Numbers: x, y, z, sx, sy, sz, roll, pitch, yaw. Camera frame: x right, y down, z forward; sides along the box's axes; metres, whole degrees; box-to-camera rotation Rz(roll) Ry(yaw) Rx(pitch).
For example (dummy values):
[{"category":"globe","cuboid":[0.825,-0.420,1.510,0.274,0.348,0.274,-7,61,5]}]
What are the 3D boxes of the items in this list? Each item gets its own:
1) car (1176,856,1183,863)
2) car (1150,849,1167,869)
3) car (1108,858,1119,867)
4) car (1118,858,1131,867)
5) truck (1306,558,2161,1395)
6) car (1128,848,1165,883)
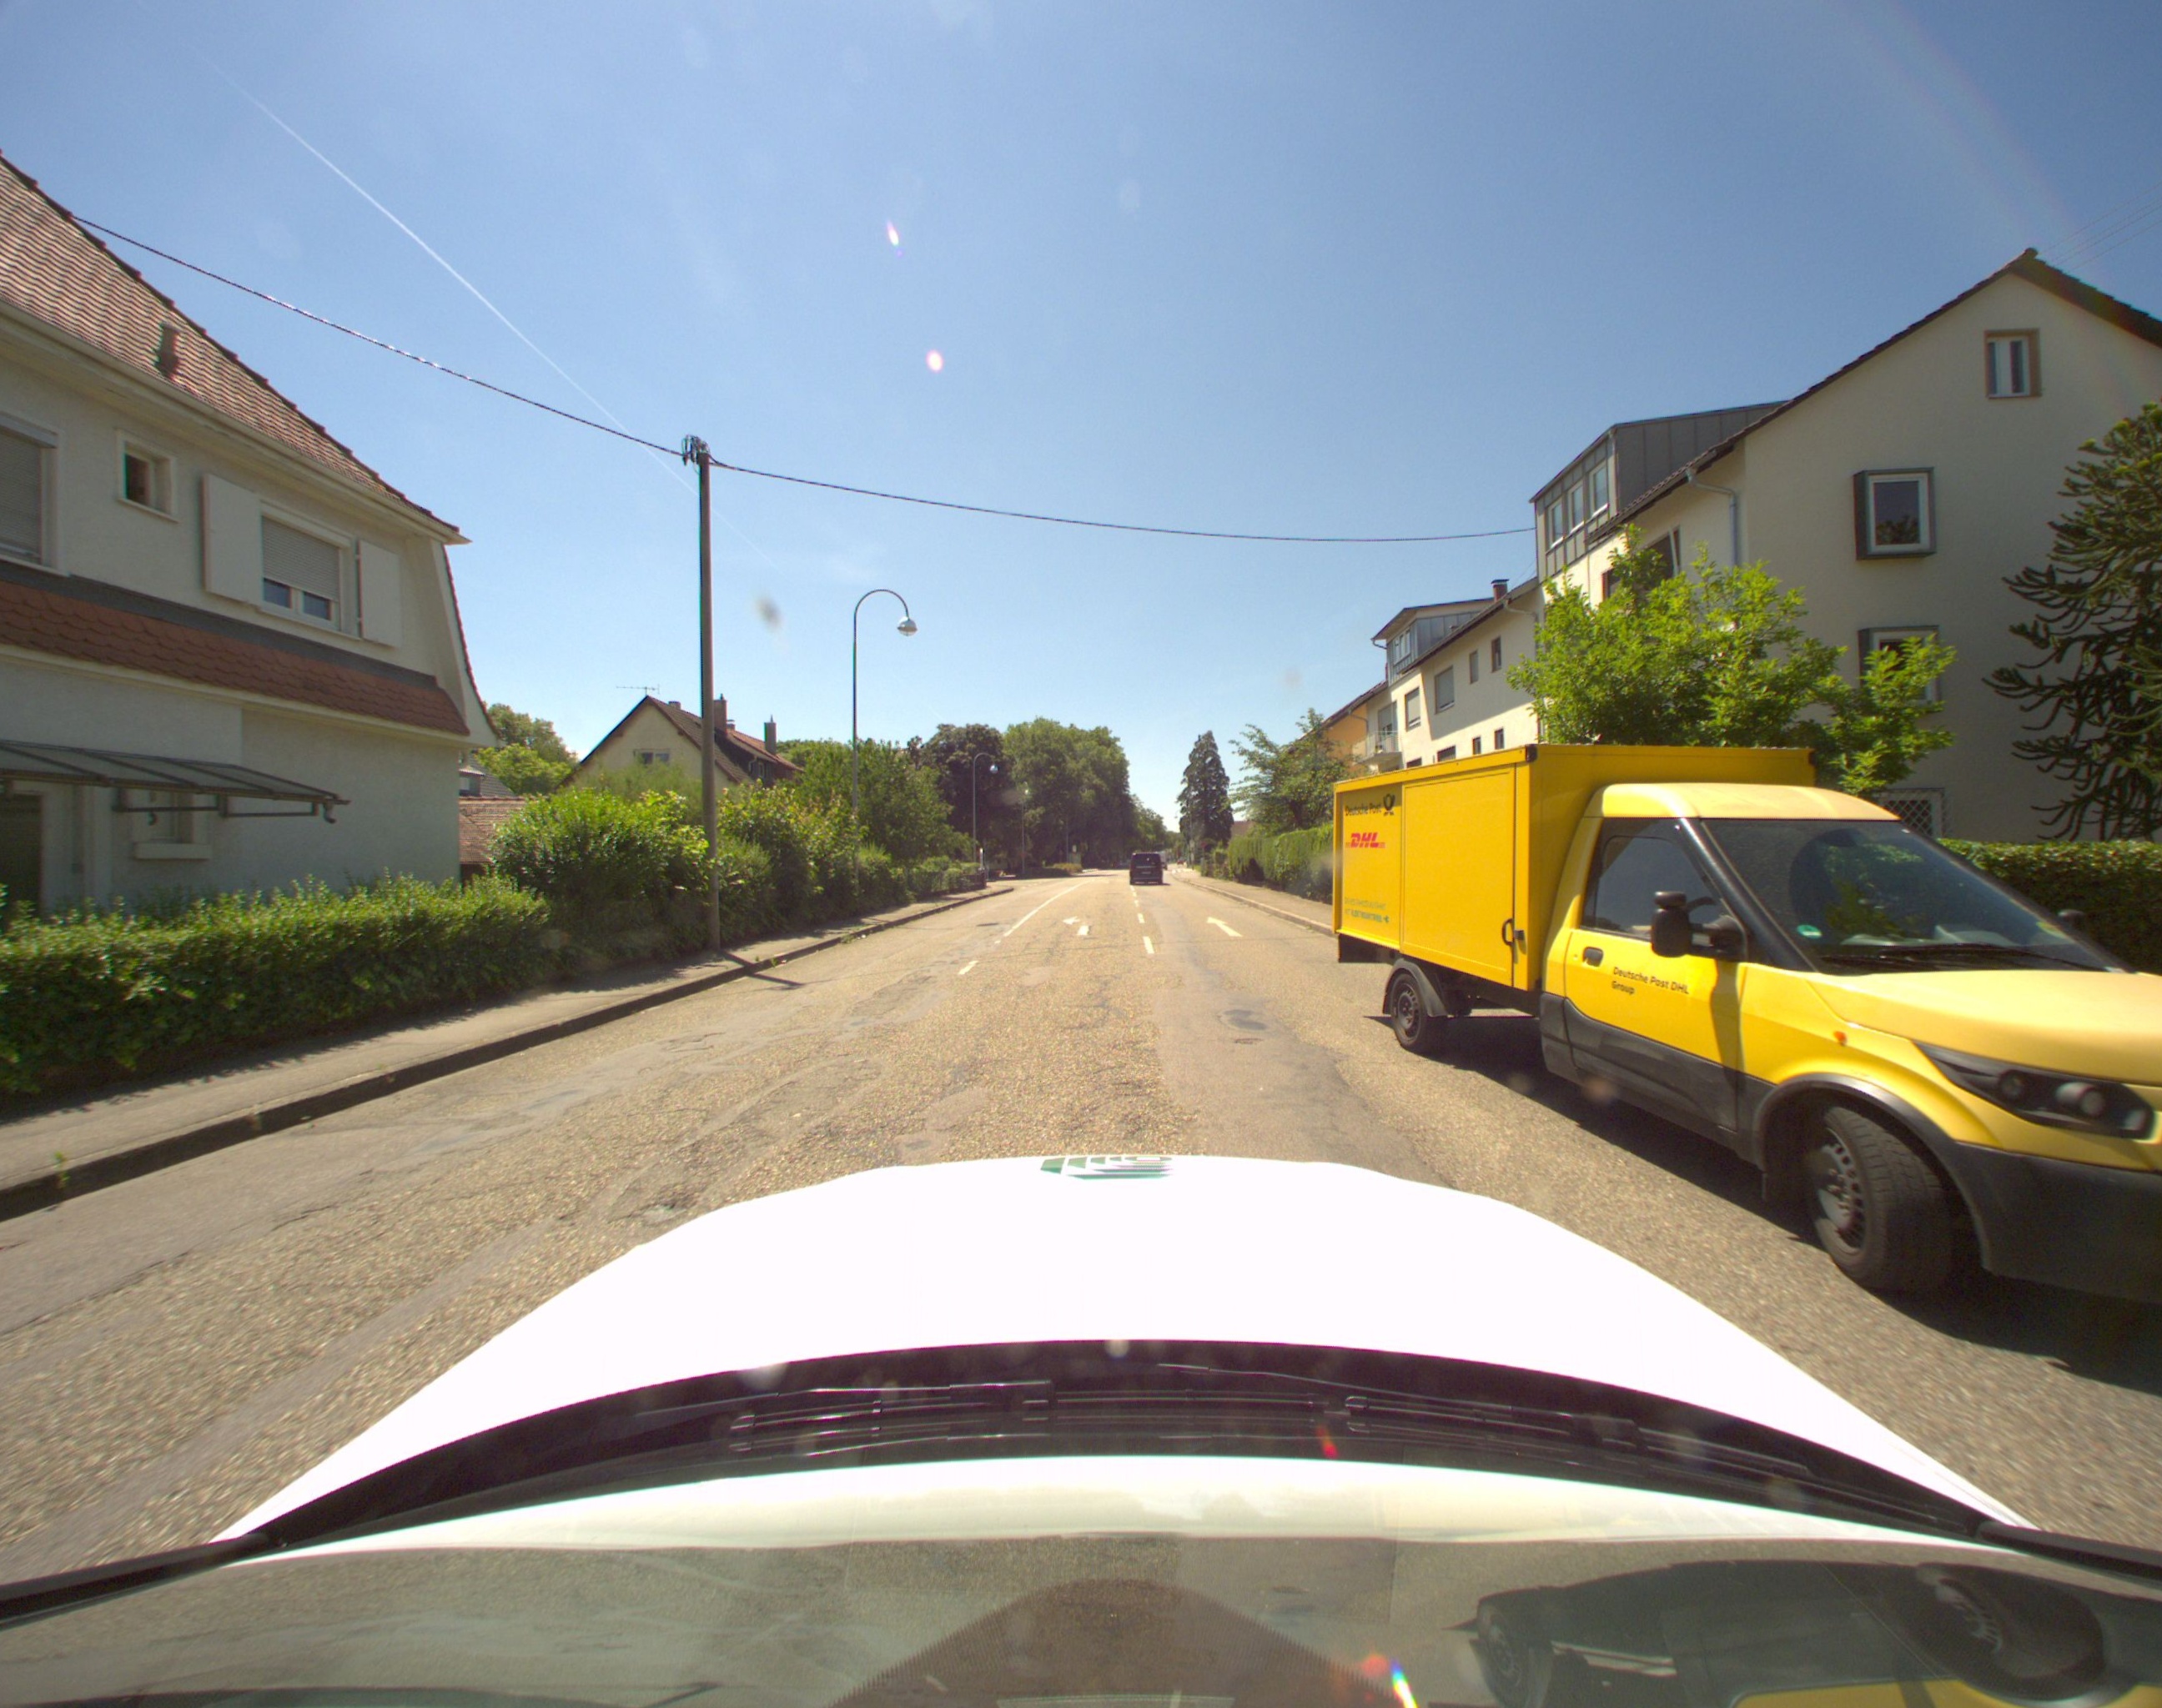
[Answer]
[{"category":"car","cuboid":[27.198,1.528,225.334,1.849,1.643,4.006,0,0,5]},{"category":"car","cuboid":[10.944,0.677,115.101,2.111,2.677,5.666,0,0,3]},{"category":"car","cuboid":[5.358,1.393,134.206,1.542,1.450,3.696,0,-1,6]},{"category":"car","cuboid":[7.647,1.526,141.935,1.679,1.460,3.652,0,0,12]},{"category":"truck","cuboid":[3.502,0.330,5.397,2.009,2.308,6.169,1,0,-3]},{"category":"car","cuboid":[3.763,0.606,46.647,1.984,1.893,4.006,0,0,5]}]
